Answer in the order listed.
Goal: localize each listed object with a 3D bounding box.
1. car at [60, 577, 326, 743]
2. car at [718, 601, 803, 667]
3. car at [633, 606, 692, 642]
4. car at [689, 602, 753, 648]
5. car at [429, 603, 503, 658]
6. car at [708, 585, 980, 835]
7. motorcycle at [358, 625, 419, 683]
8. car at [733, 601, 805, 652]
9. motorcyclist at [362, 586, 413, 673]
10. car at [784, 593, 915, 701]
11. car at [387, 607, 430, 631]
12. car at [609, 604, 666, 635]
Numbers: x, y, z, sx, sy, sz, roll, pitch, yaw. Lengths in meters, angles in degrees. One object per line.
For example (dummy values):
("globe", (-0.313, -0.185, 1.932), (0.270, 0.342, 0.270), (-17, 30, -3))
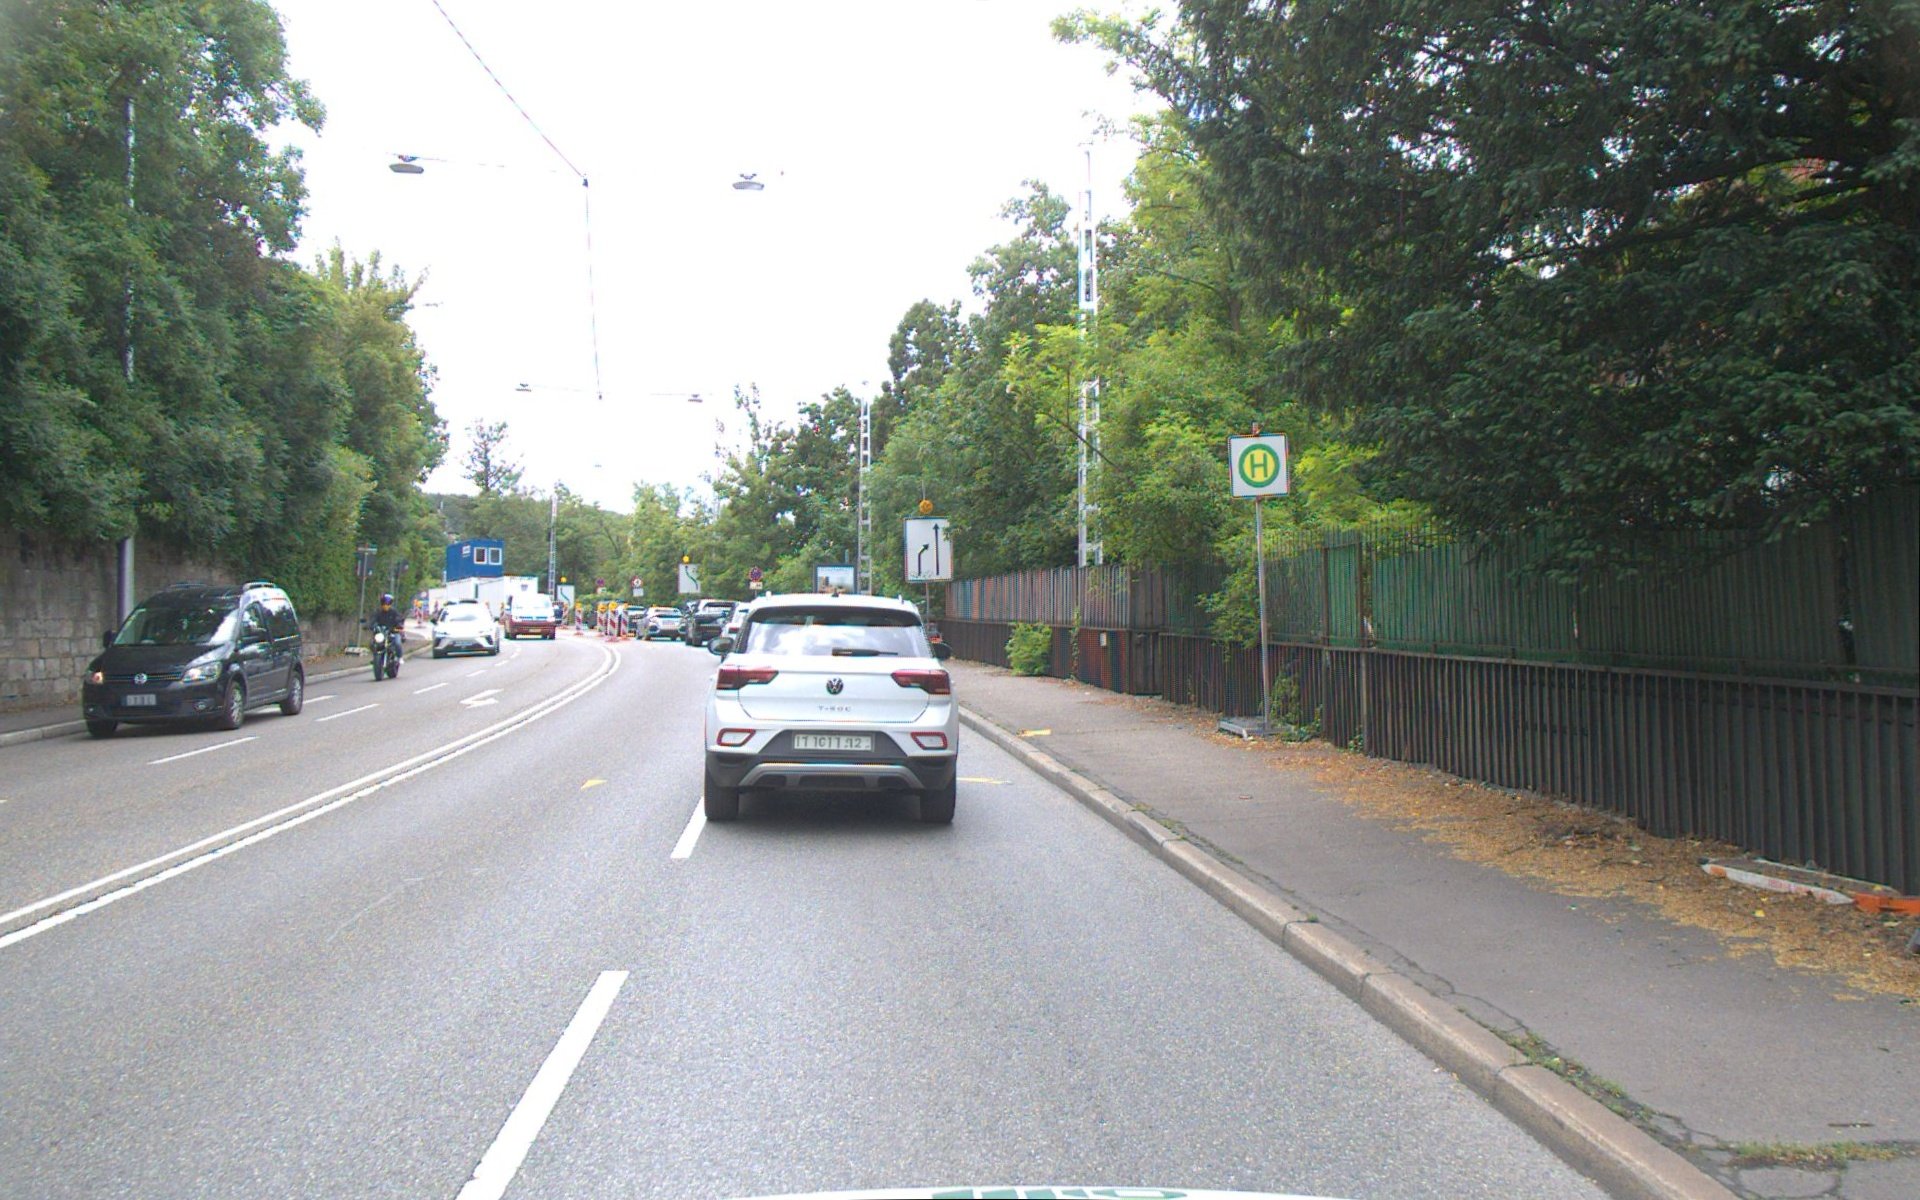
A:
("car", (-9.968, 0.711, 21.866), (1.709, 1.878, 4.245), (-3, 0, -4))
("car", (-4.838, 0.802, 39.754), (1.726, 1.497, 3.784), (1, -1, -11))
("car", (-12.957, 1.049, 71.843), (1.963, 1.475, 4.129), (0, -1, -18))
("car", (-8.663, 0.886, 59.704), (1.959, 1.583, 4.136), (0, 0, -13))
("car", (-14.734, 0.907, 49.487), (1.751, 1.492, 4.088), (-3, 0, -12))
("car", (-1.006, 0.724, 12.466), (1.725, 1.583, 3.788), (1, -1, -8))
("motorcycle", (-11.860, 1.101, 34.385), (0.637, 1.092, 2.305), (-2, 0, -6))
("car", (-5.823, 0.805, 50.103), (1.957, 1.439, 4.141), (-1, -1, -9))
("motorcyclist", (-11.814, 0.606, 34.146), (0.636, 1.735, 1.336), (-2, 0, -6))
("car", (-1.887, 0.744, 27.281), (1.726, 1.638, 3.785), (1, -1, -11))
("car", (-34.804, 1.190, 104.315), (1.875, 1.406, 3.961), (-1, 0, -29))
("car", (-15.947, 0.964, 81.659), (1.967, 1.475, 4.120), (0, -1, -23))
